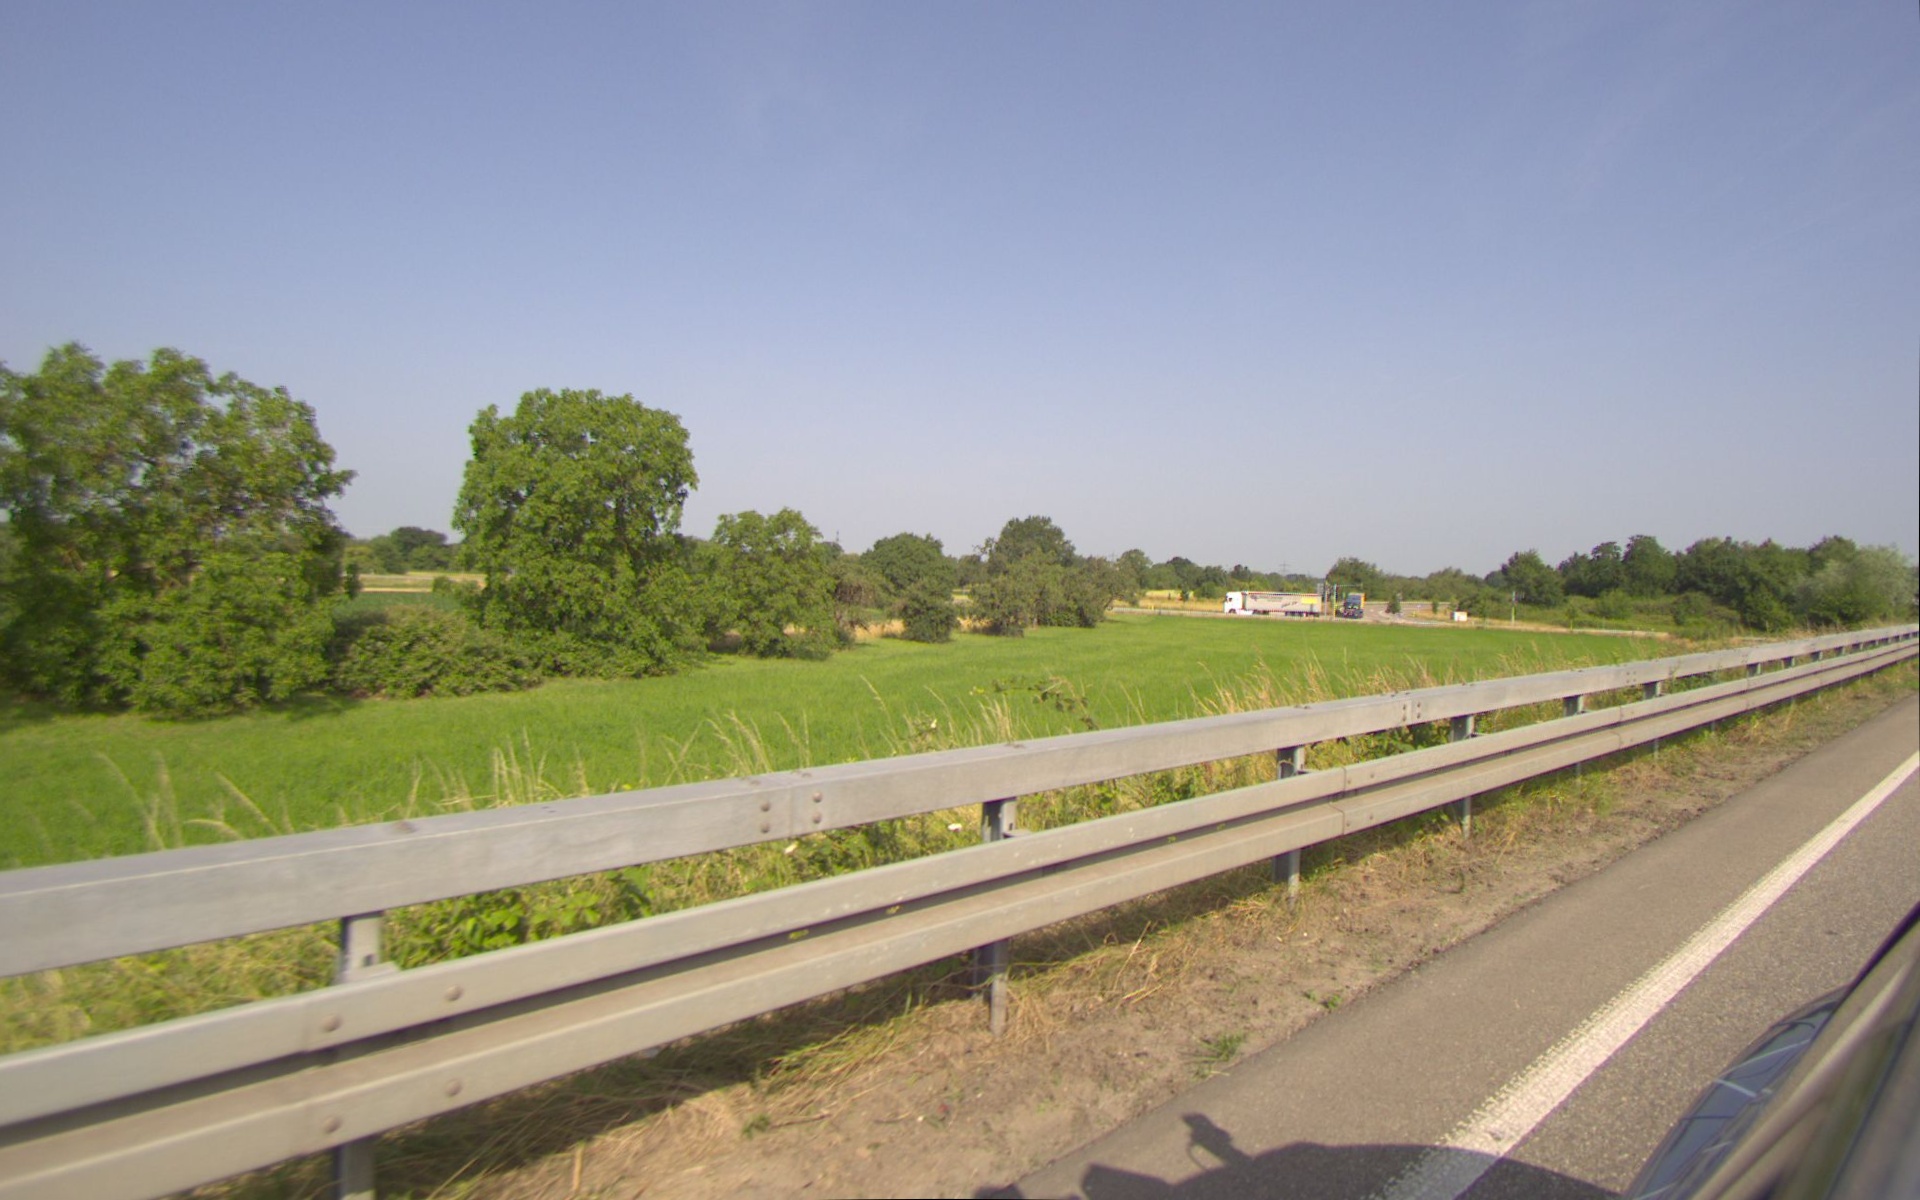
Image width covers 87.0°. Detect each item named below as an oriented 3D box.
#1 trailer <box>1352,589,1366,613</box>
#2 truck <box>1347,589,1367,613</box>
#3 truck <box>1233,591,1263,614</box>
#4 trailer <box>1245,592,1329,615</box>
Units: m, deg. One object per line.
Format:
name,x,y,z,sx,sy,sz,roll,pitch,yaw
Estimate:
trailer,73.150,0.089,185.457,2.236,4.221,14.318,2,1,22
truck,70.294,0.158,179.187,2.249,4.221,4.315,2,1,36
truck,49.589,0.435,174.459,4.875,3.724,2.097,1,0,17
trailer,56.181,0.546,174.082,13.673,3.698,2.107,1,0,2
